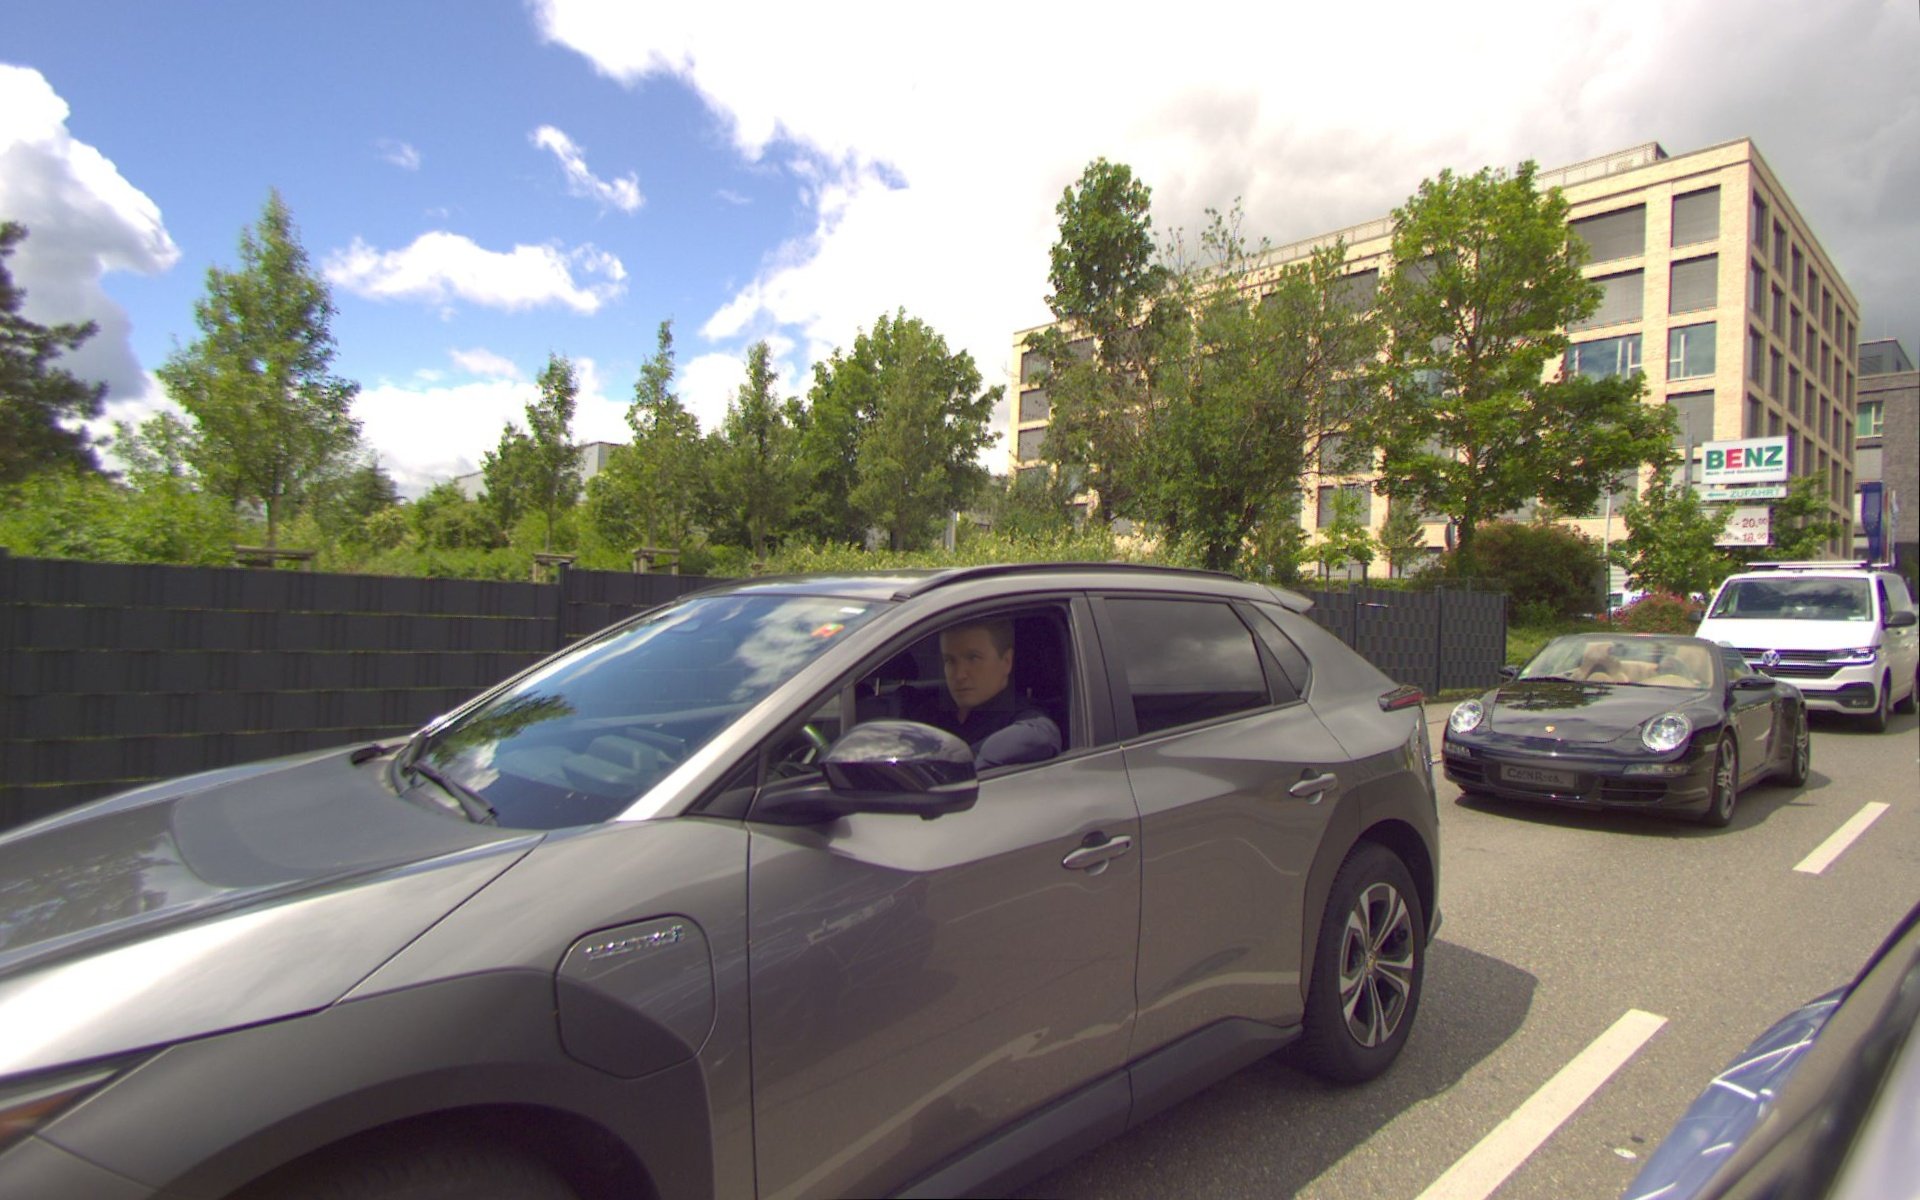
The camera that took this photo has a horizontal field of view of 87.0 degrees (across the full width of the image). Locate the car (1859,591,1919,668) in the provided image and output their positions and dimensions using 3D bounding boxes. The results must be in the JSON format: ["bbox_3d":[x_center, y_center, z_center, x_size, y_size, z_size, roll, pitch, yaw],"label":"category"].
[{"bbox_3d":[20.258,0.580,21.057,3.930,1.481,1.817,0,2,-41],"label":"car"}]

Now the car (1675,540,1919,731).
[{"bbox_3d":[11.353,0.375,13.338,4.677,2.075,2.087,0,0,-41],"label":"car"}]

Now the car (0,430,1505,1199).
[{"bbox_3d":[-0.350,0.625,2.960,4.501,1.649,1.997,0,1,-42],"label":"car"}]

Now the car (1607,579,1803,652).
[{"bbox_3d":[19.930,0.354,27.190,1.793,1.754,3.991,0,2,-44],"label":"car"}]

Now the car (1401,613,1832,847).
[{"bbox_3d":[5.303,0.793,7.978,3.967,1.310,1.823,0,0,-41],"label":"car"}]
